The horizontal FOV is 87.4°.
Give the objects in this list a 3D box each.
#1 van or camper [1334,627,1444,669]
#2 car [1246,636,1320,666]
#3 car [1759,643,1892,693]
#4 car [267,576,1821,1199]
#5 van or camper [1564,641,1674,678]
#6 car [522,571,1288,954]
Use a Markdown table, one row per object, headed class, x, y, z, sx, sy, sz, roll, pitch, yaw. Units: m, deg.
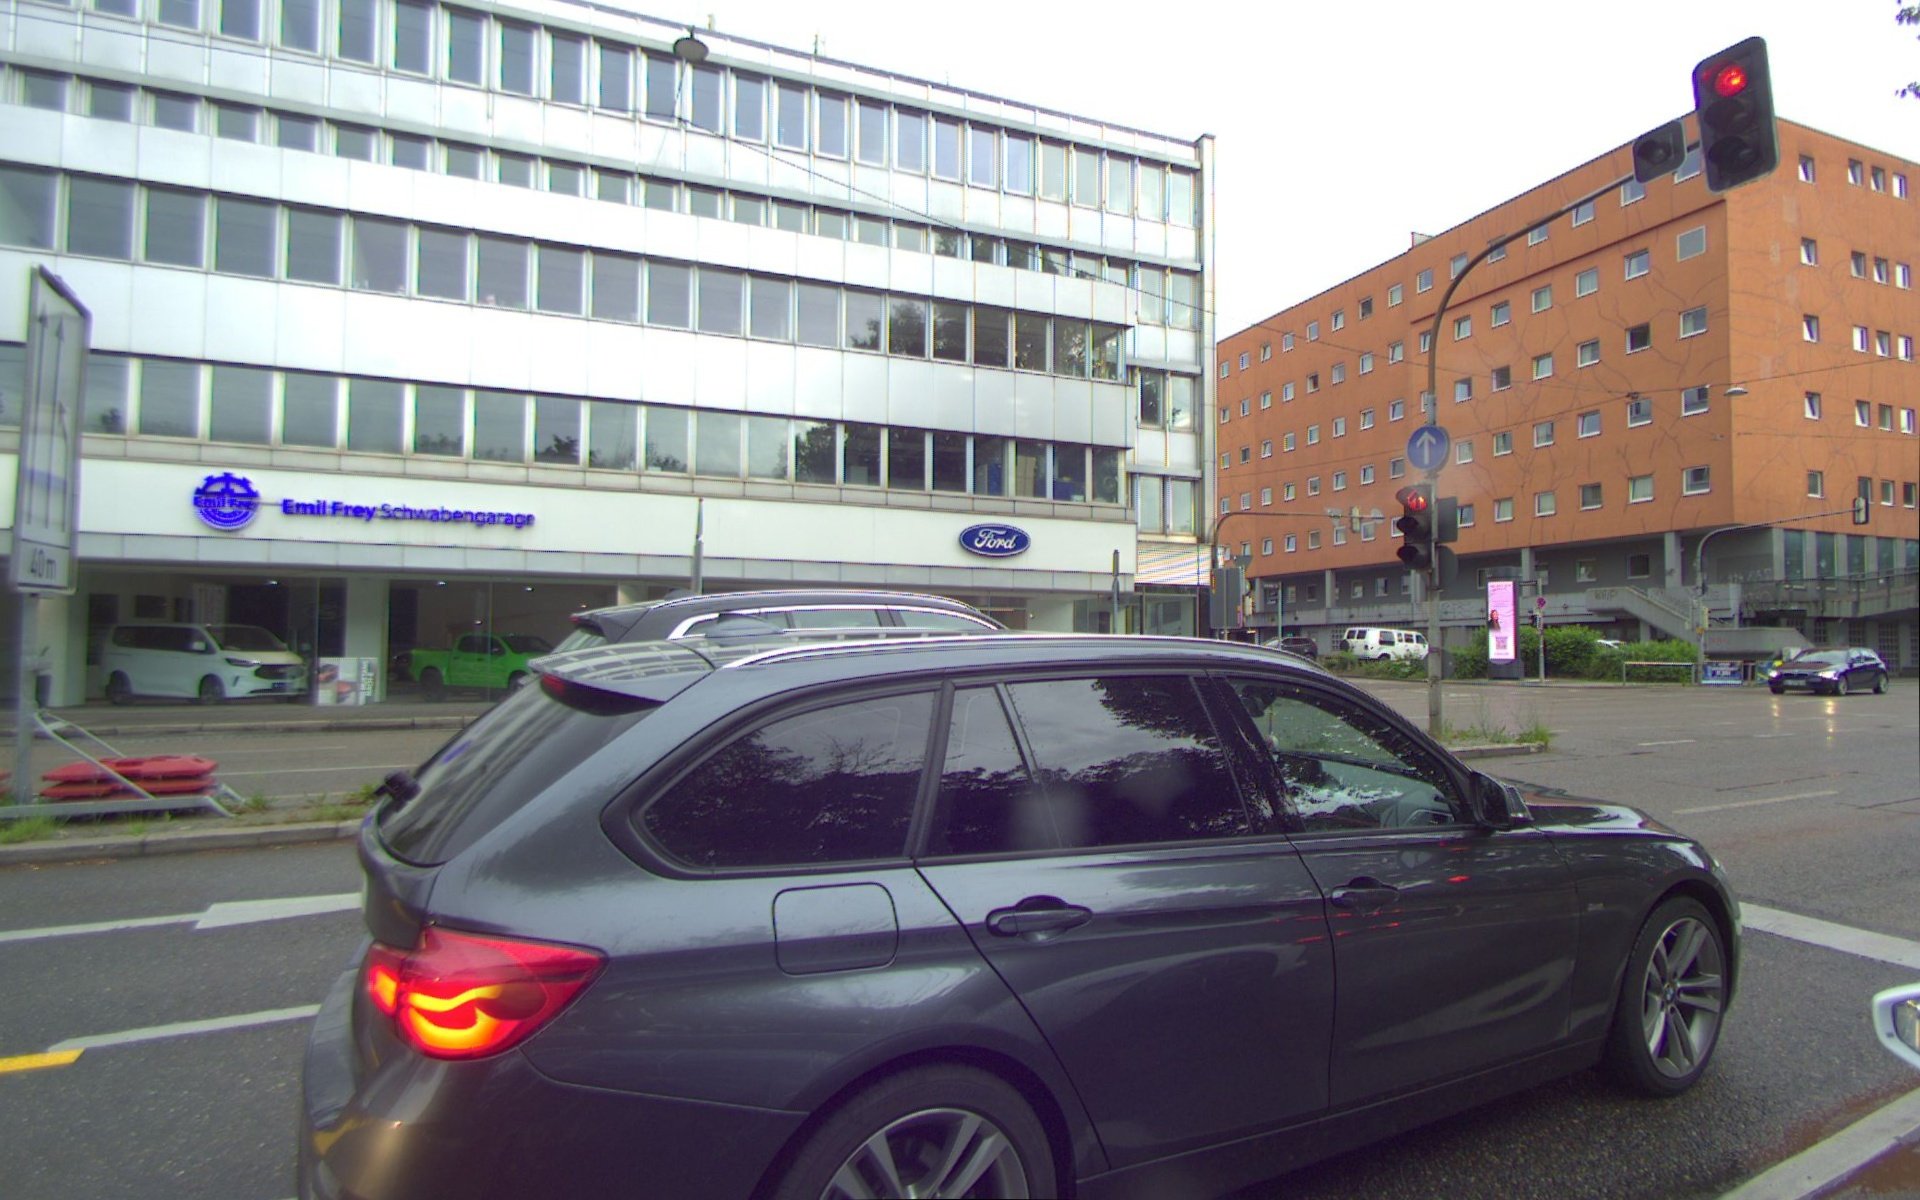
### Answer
| class | x | y | z | sx | sy | sz | roll | pitch | yaw |
| --- | --- | --- | --- | --- | --- | --- | --- | --- | --- |
| van or camper | 22.375 | 2.516 | 52.391 | 5.376 | 2.004 | 2.121 | 2 | 0 | -23 |
| car | 18.975 | 2.990 | 59.020 | 4.027 | 1.633 | 1.706 | 2 | 0 | -23 |
| car | 26.573 | 2.066 | 30.820 | 4.161 | 1.437 | 1.680 | 2 | -3 | -28 |
| car | 0.616 | 0.798 | 3.153 | 4.424 | 1.477 | 1.769 | 2 | -3 | -30 |
| van or camper | 31.067 | 2.772 | 47.485 | 1.887 | 1.648 | 3.978 | 1 | -2 | -23 |
| car | -0.254 | 0.767 | 6.237 | 4.389 | 1.678 | 1.802 | 2 | 0 | -28 |
